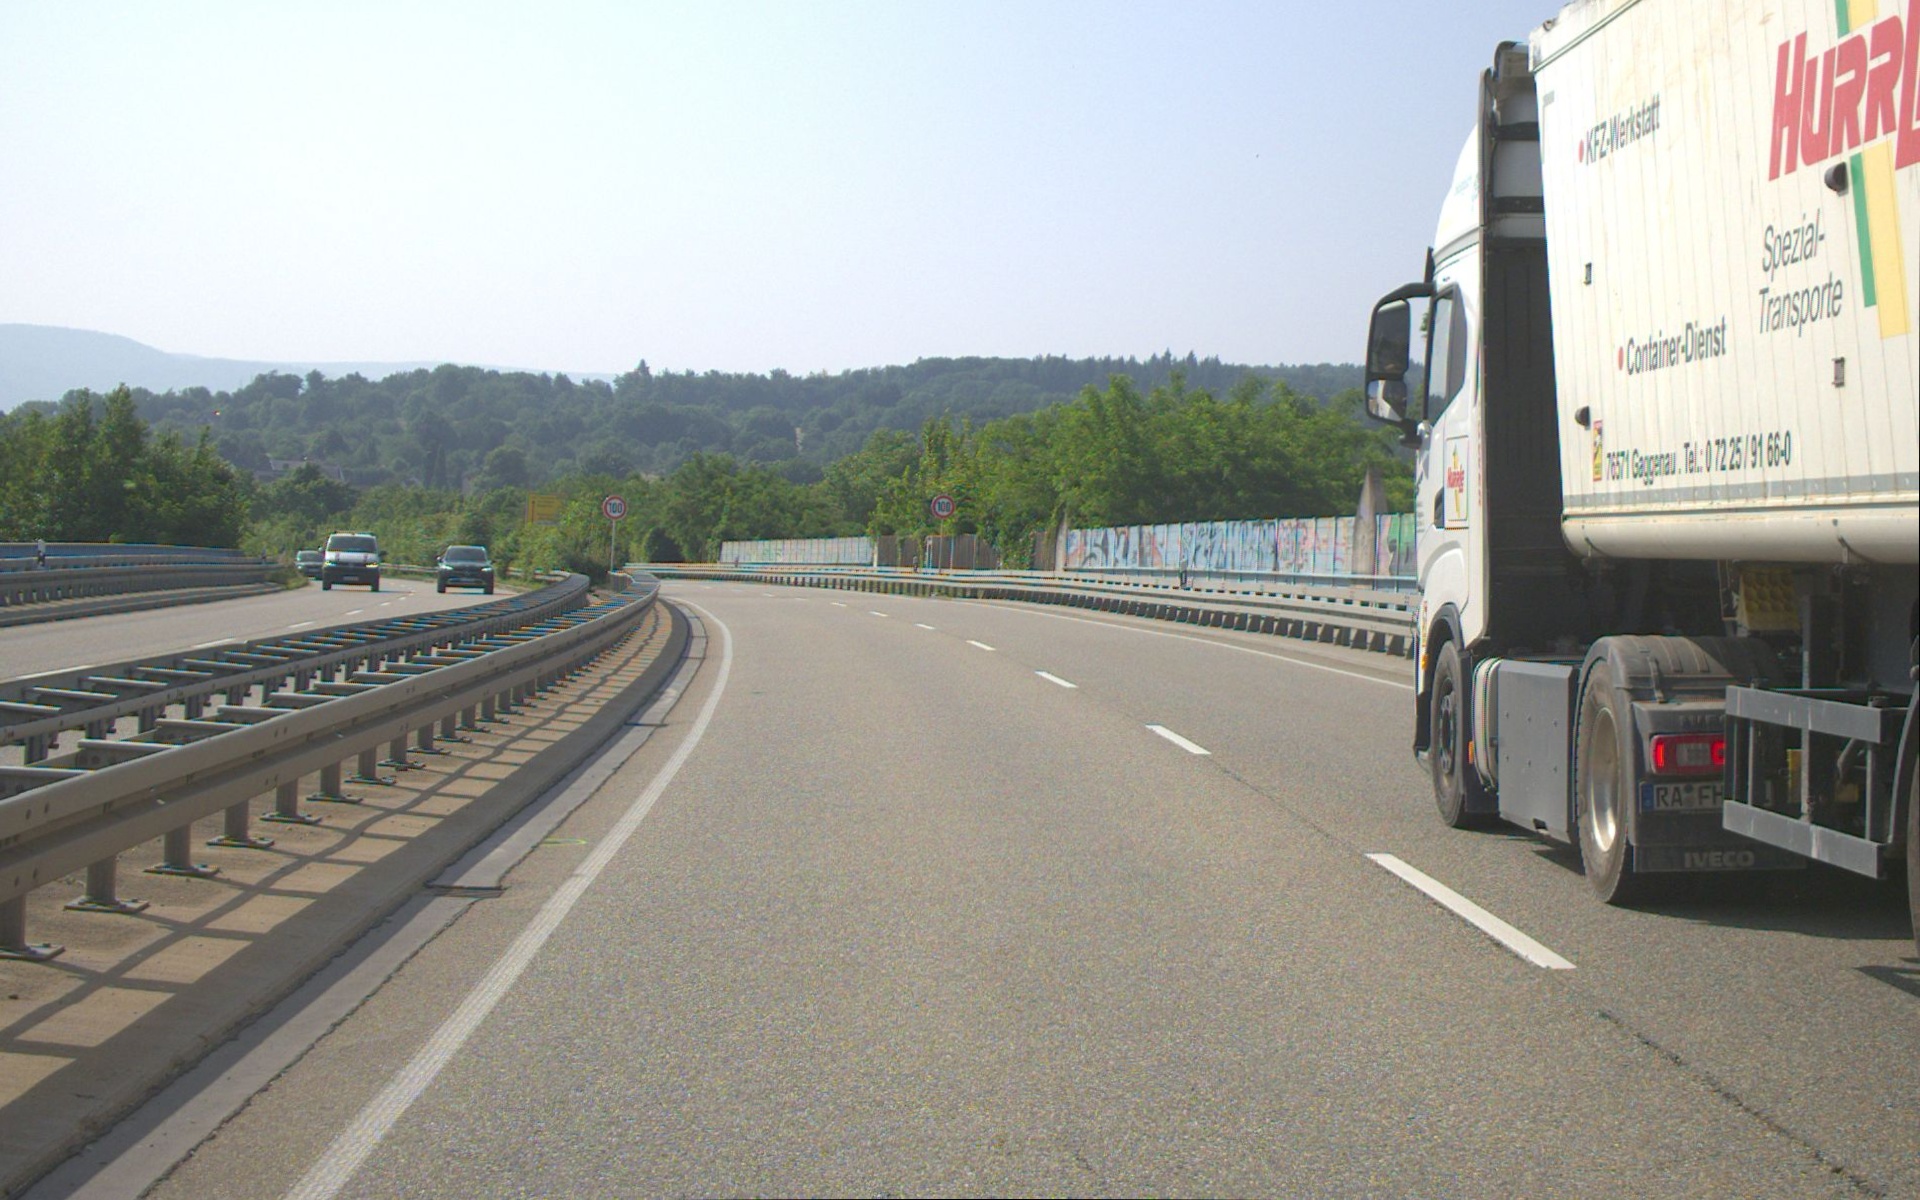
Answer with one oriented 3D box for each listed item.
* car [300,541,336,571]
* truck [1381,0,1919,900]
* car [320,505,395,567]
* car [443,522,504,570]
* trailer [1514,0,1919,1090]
[{"bbox_3d":[-35.417,-2.441,189.696,1.723,1.591,4.001,2,0,-8],"label":"car"},{"bbox_3d":[3.797,-0.805,16.815,2.658,3.882,5.649,1,2,-1],"label":"truck"},{"bbox_3d":[-20.493,-2.192,117.102,2.038,1.999,5.309,1,1,-5],"label":"car"},{"bbox_3d":[-16.959,-1.885,120.022,1.864,1.602,4.419,1,1,-5],"label":"car"},{"bbox_3d":[3.929,-0.650,10.652,2.679,3.893,9.673,1,2,-1],"label":"trailer"}]
